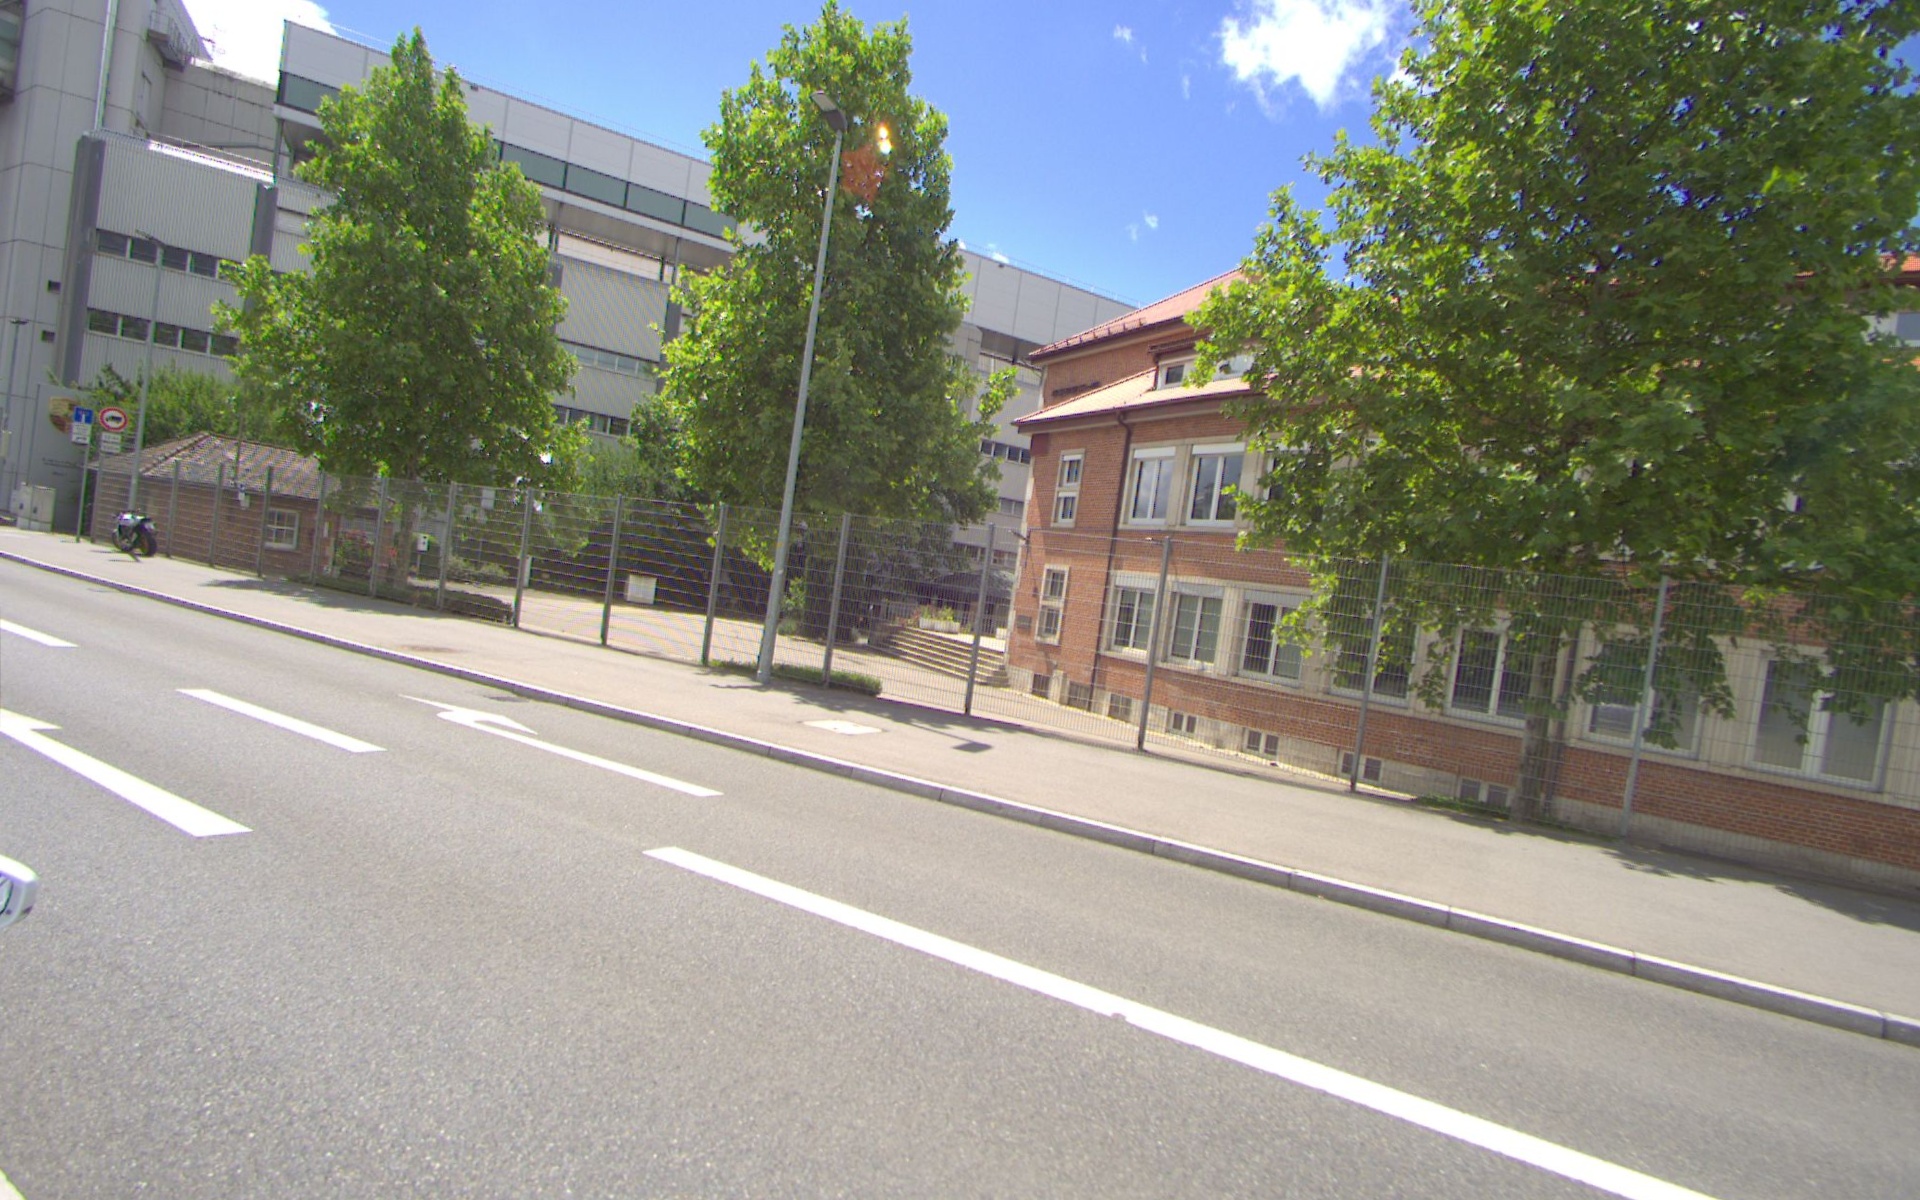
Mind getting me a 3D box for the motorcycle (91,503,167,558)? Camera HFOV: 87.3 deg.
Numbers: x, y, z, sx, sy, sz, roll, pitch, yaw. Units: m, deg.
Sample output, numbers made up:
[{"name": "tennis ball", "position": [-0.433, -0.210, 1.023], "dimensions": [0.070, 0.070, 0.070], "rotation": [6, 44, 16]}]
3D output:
[{"name": "motorcycle", "position": [-21.357, -1.785, 25.834], "dimensions": [2.110, 1.173, 0.693], "rotation": [7, 2, 28]}]
